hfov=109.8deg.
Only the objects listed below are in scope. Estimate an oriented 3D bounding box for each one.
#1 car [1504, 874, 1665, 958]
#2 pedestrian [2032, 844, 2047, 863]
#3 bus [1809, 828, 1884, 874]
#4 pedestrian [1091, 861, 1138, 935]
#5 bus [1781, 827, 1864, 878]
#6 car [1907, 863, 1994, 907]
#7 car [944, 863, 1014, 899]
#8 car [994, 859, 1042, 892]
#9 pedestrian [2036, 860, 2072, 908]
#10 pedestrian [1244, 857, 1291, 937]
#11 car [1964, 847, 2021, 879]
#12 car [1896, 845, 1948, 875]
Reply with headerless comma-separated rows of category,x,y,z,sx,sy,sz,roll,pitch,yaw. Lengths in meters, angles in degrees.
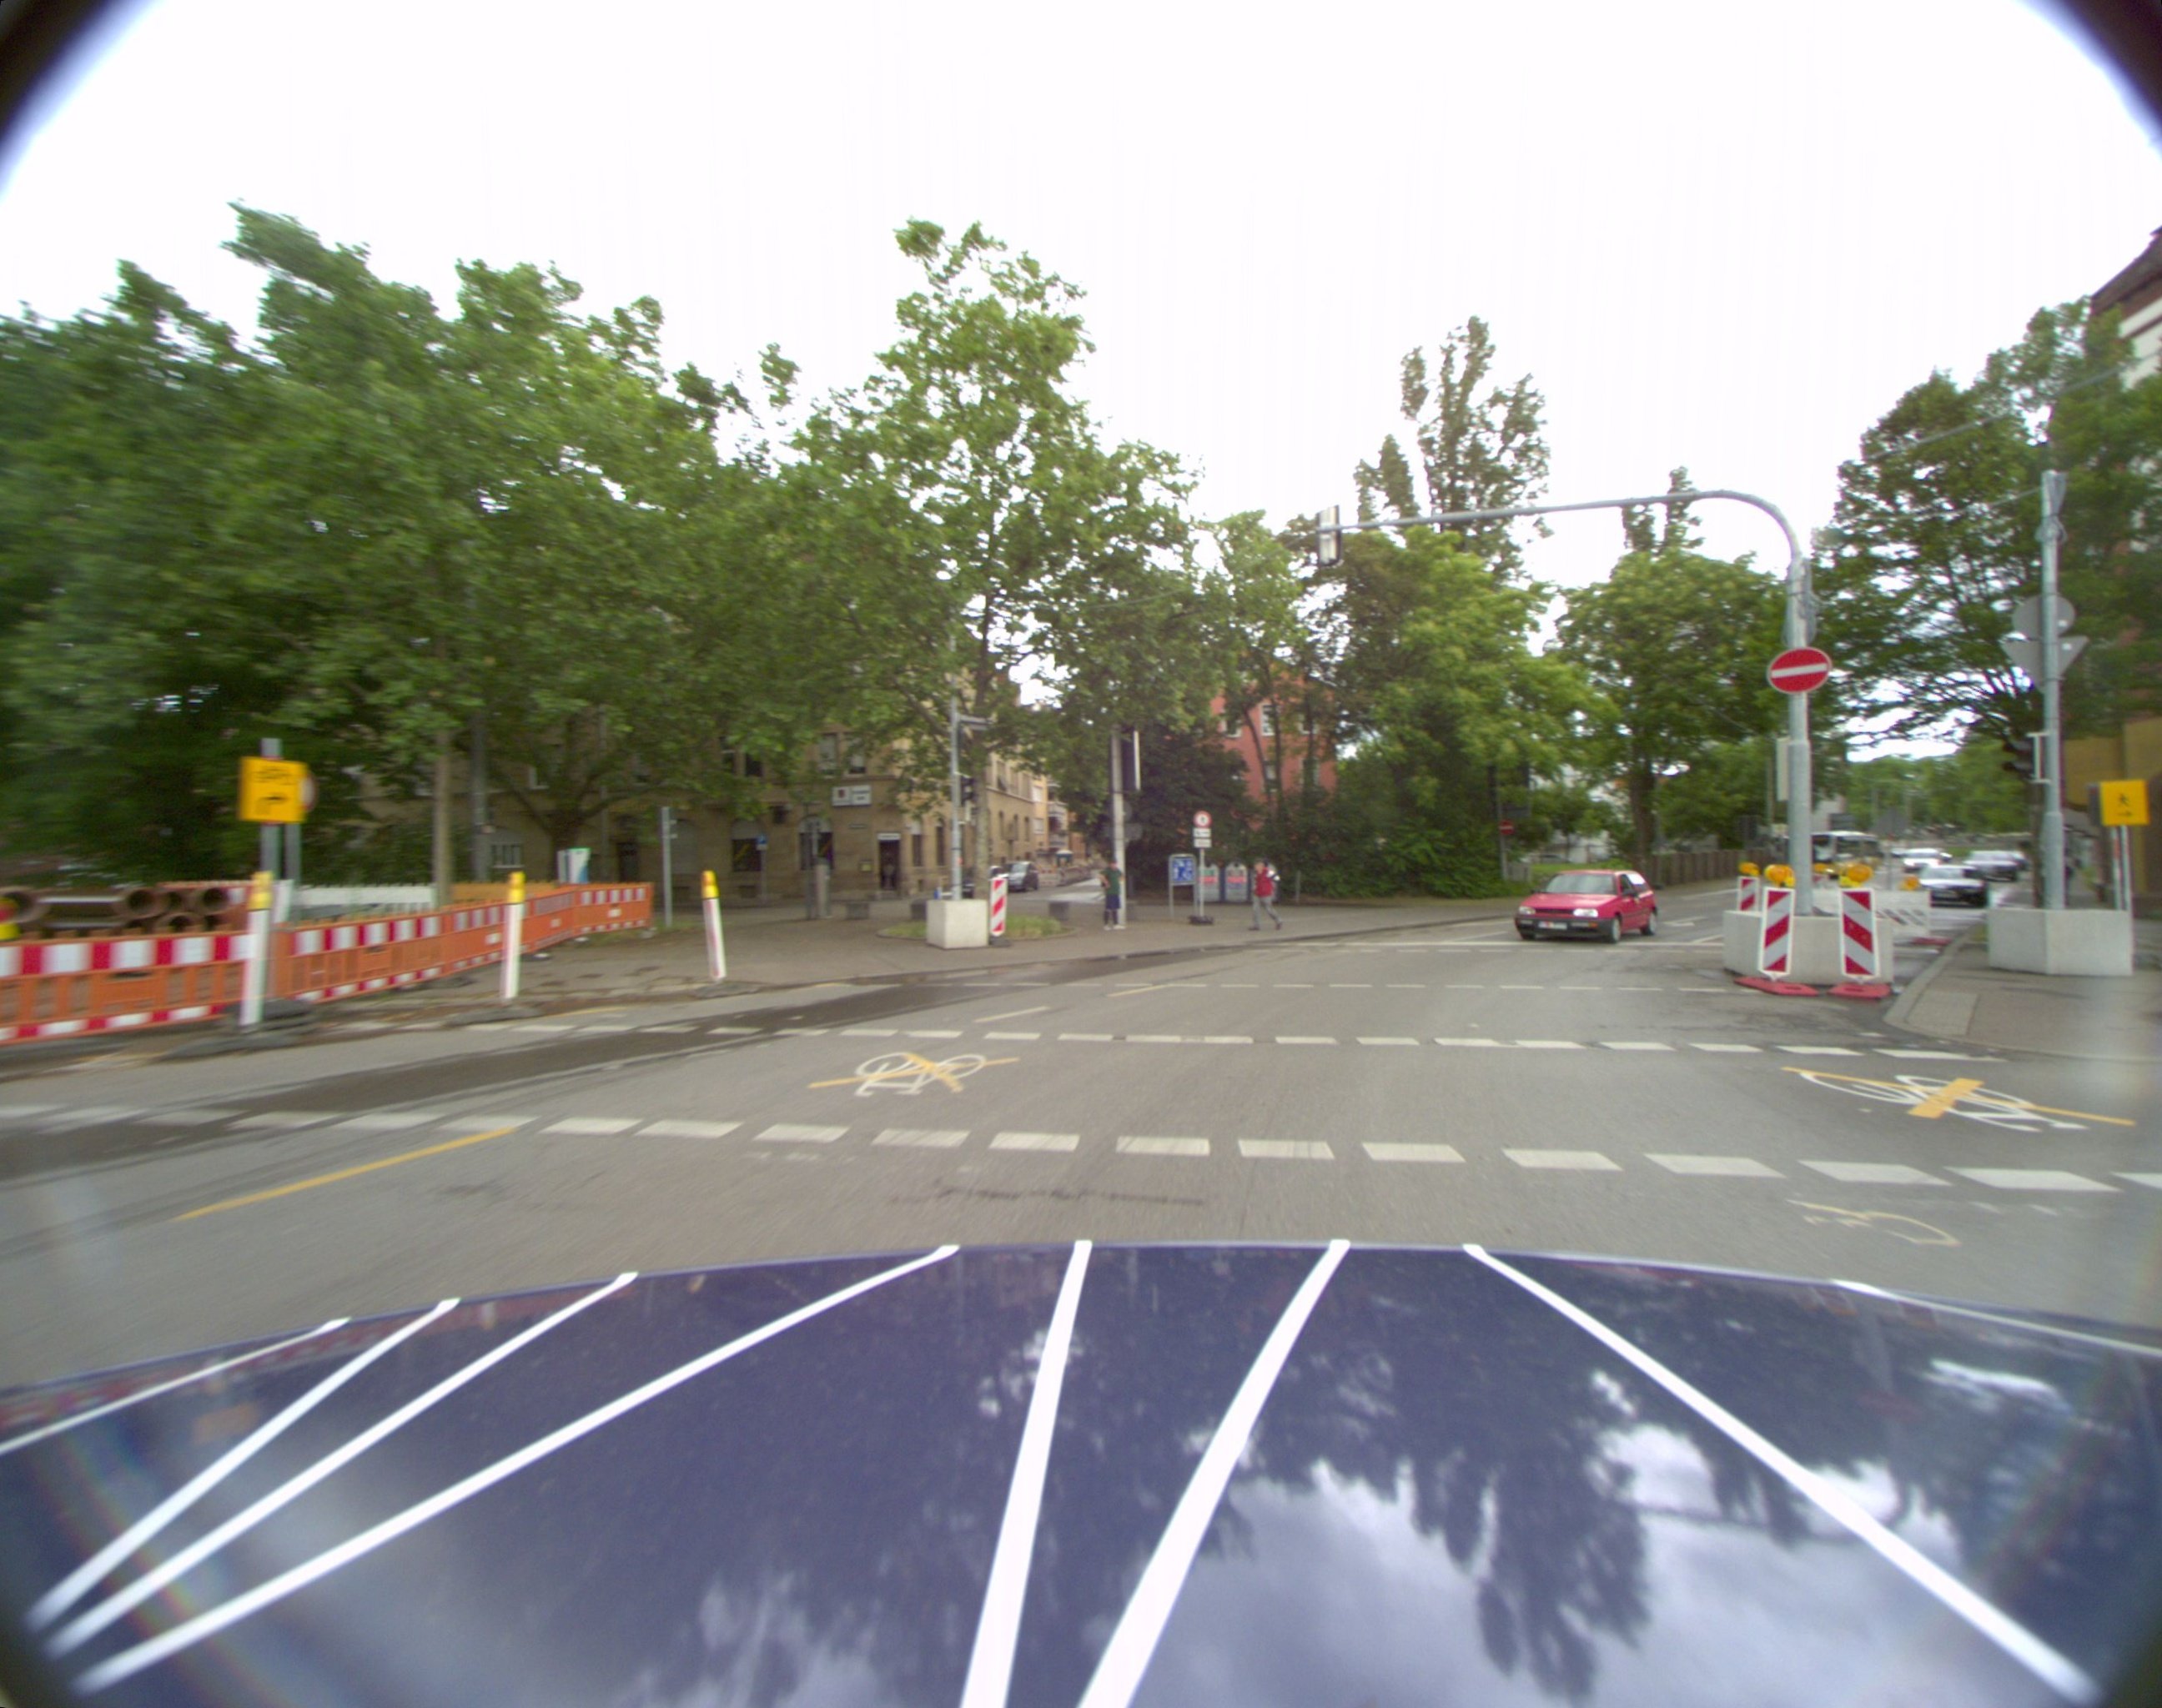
car,10.481,1.165,15.683,4.182,1.414,1.846,0,0,-43
pedestrian,90.356,-0.066,71.618,0.987,1.733,0.762,0,-3,-41
bus,57.359,-0.219,56.844,10.059,3.116,2.665,-1,-3,-38
pedestrian,0.787,1.002,17.896,0.731,1.687,0.839,1,1,43
bus,49.766,-0.114,50.885,9.235,3.119,2.674,-1,-3,-38
car,31.555,1.101,27.542,4.399,1.476,1.726,1,-3,-37
car,-4.561,1.186,34.584,1.728,1.455,4.094,1,0,14
car,-3.286,1.099,40.252,1.618,1.580,4.002,-1,1,9
pedestrian,32.803,1.008,25.621,0.634,1.599,0.660,0,-3,-38
pedestrian,4.439,0.997,18.082,0.729,1.821,0.779,0,2,-38
car,52.564,0.495,43.807,4.783,1.723,1.955,0,-1,-39
car,62.919,0.465,56.799,4.464,1.775,2.070,-6,0,-36
